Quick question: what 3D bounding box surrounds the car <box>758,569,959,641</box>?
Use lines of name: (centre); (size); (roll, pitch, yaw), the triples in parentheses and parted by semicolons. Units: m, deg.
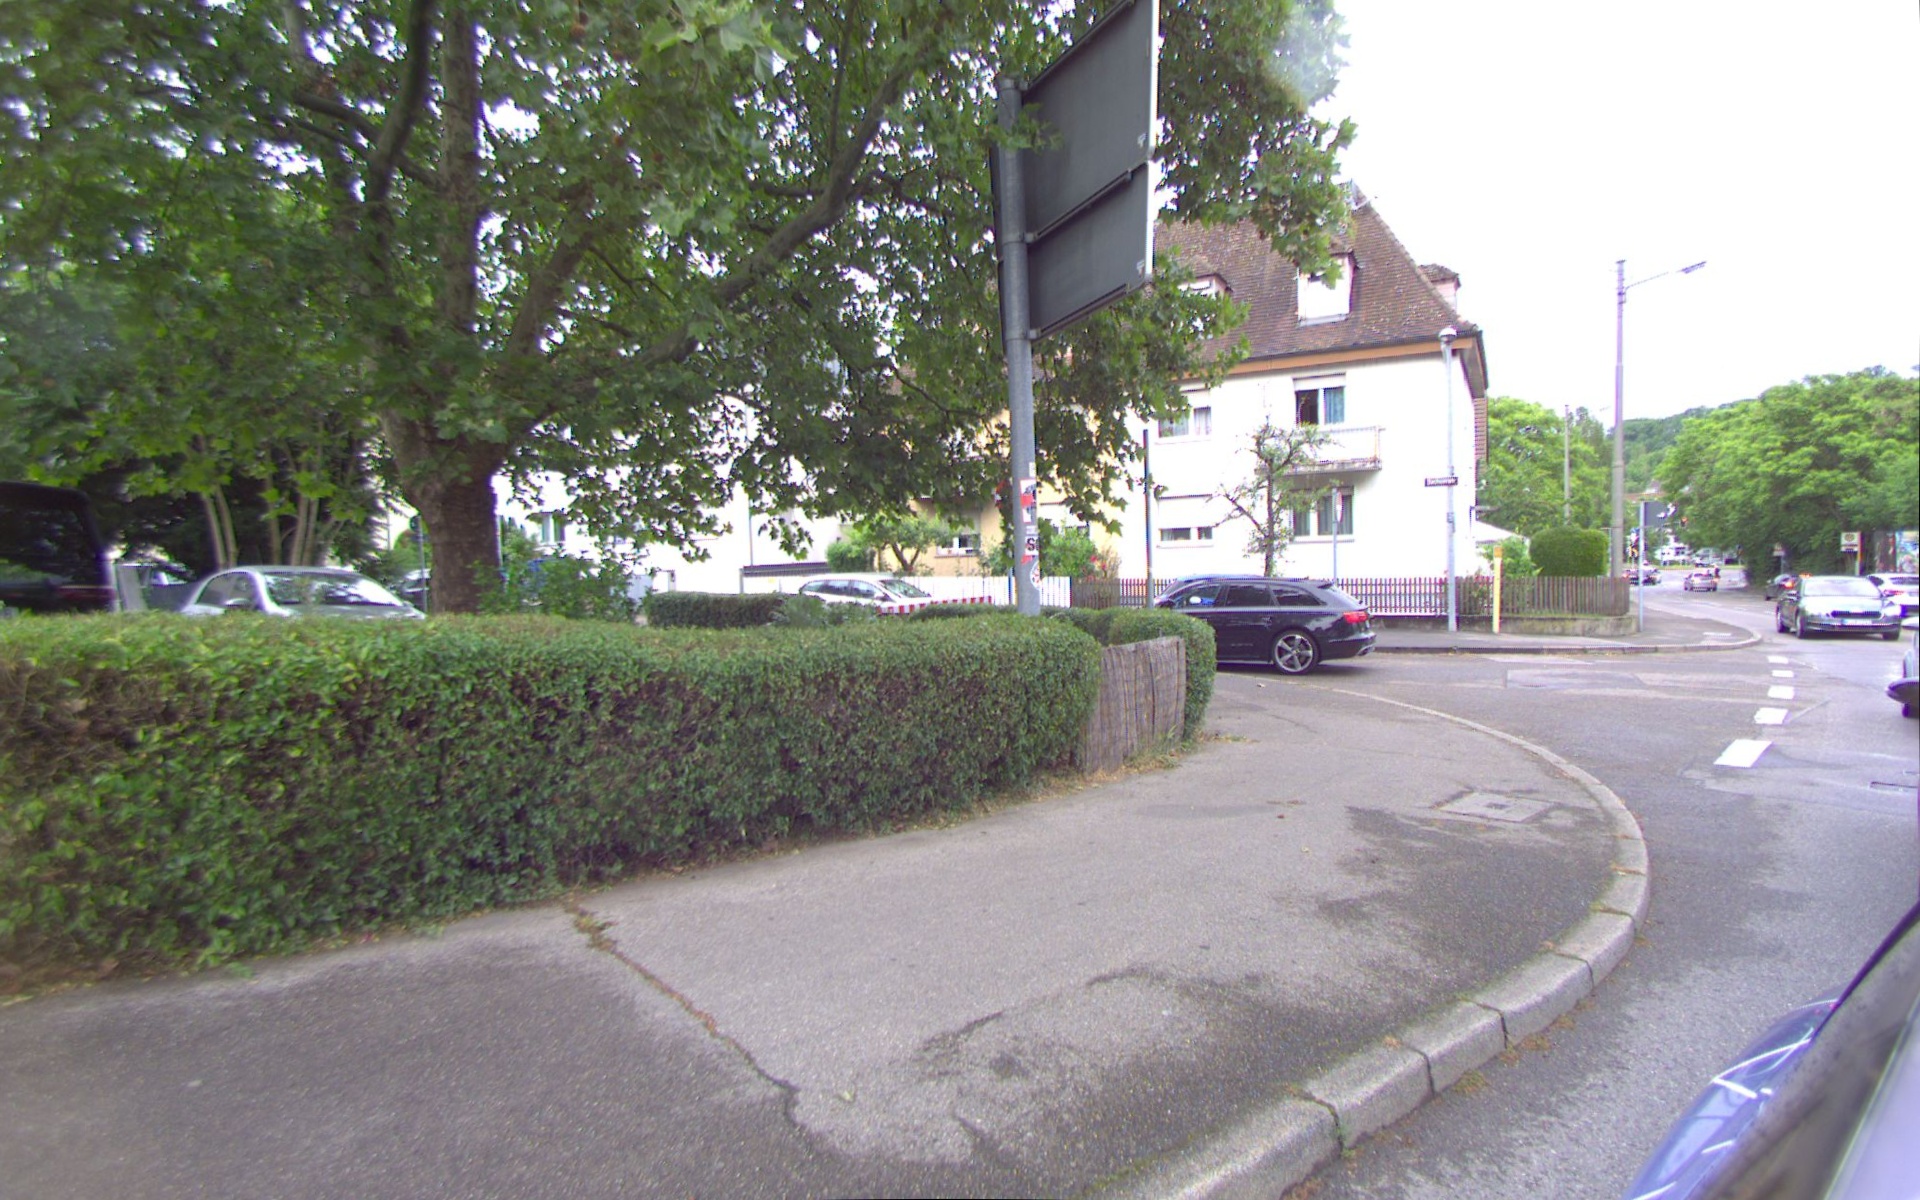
car: (-2.386, 0.075, 23.564); (4.356, 1.532, 1.979); (0, 1, 30)

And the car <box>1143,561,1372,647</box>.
car: (5.673, 0.017, 19.339); (3.960, 1.482, 1.845); (1, 2, 26)

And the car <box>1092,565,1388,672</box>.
car: (4.524, 0.230, 16.409); (4.350, 1.532, 1.982); (0, 1, 27)

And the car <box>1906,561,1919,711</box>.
car: (10.840, 0.385, 10.254); (1.638, 1.577, 3.576); (1, 1, 40)

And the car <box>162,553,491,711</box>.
car: (-7.286, 0.266, 11.526); (3.979, 1.482, 1.973); (1, 1, 38)

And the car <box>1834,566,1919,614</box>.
car: (32.946, -0.389, 35.678); (1.823, 1.577, 5.525); (0, 1, 25)

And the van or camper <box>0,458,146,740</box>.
van or camper: (-8.524, -0.018, 7.789); (4.286, 1.927, 1.981); (0, 1, 27)

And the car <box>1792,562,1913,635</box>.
car: (20.884, -0.076, 23.824); (1.698, 1.577, 3.950); (0, 1, 35)
